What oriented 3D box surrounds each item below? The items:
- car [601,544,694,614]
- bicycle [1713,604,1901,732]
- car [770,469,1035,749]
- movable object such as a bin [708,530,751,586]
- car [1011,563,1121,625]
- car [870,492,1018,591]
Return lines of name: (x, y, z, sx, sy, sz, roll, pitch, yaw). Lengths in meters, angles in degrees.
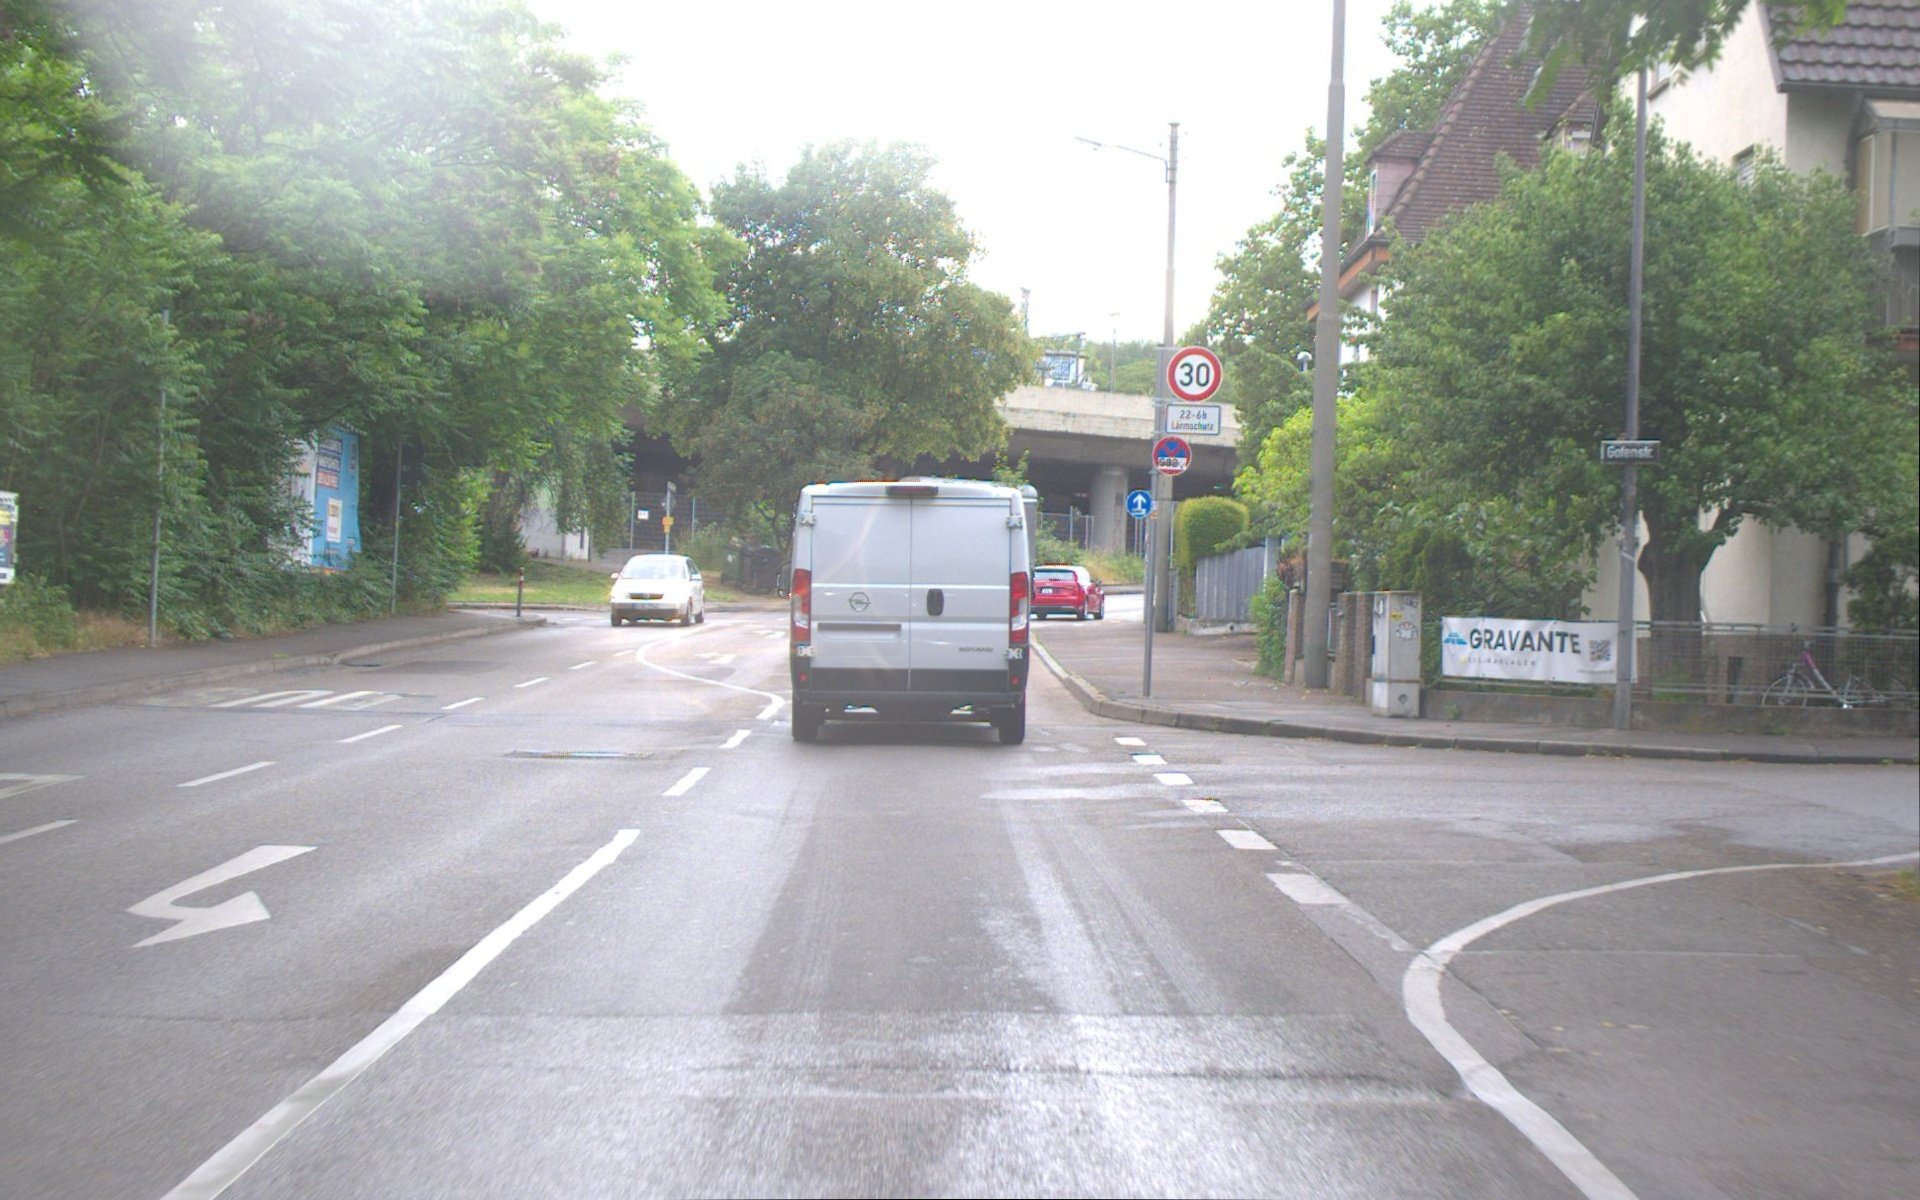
car: (-6.509, -0.462, 71.837, 1.654, 1.412, 3.936, 0, 1, -1)
bicycle: (7.652, 0.612, 31.080, 1.571, 1.111, 0.457, 1, 1, 4)
car: (-0.476, 0.071, 31.205, 2.146, 2.276, 5.063, 2, 0, 0)
movable object such as a bin: (-6.897, -1.251, 103.058, 0.940, 1.558, 1.130, 8, 1, 4)
car: (2.797, -0.155, 89.837, 1.767, 1.505, 3.751, 3, 1, 19)
car: (-0.475, -1.897, 113.741, 2.536, 3.008, 7.203, 3, 1, 19)
